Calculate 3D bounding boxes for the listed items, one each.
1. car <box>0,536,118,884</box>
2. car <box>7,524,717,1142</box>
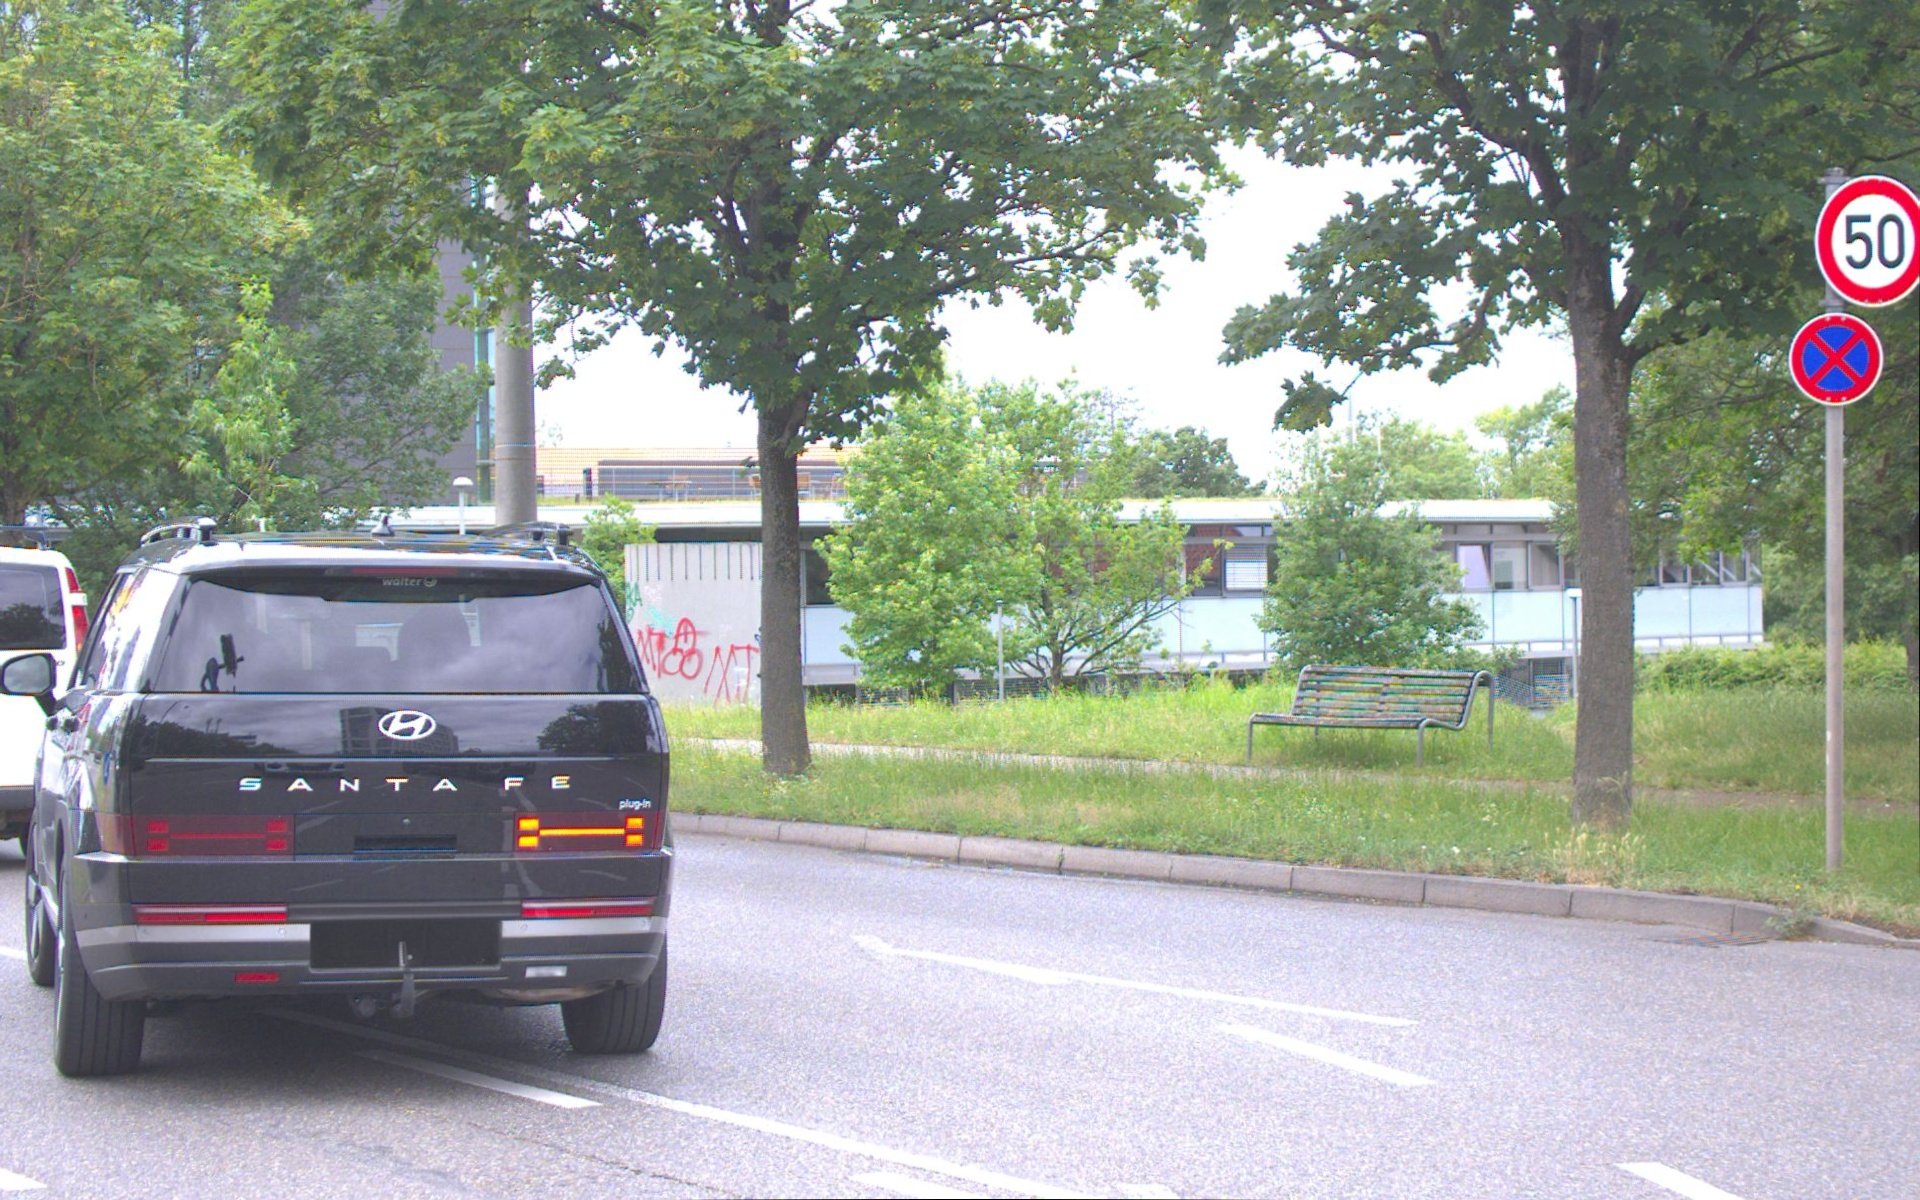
[{"bbox_3d":[-6.816,0.612,21.266,1.902,1.962,4.636,1,0,-30],"label":"car"},{"bbox_3d":[-2.281,0.670,12.019,1.901,1.726,4.447,1,0,-17],"label":"car"}]
